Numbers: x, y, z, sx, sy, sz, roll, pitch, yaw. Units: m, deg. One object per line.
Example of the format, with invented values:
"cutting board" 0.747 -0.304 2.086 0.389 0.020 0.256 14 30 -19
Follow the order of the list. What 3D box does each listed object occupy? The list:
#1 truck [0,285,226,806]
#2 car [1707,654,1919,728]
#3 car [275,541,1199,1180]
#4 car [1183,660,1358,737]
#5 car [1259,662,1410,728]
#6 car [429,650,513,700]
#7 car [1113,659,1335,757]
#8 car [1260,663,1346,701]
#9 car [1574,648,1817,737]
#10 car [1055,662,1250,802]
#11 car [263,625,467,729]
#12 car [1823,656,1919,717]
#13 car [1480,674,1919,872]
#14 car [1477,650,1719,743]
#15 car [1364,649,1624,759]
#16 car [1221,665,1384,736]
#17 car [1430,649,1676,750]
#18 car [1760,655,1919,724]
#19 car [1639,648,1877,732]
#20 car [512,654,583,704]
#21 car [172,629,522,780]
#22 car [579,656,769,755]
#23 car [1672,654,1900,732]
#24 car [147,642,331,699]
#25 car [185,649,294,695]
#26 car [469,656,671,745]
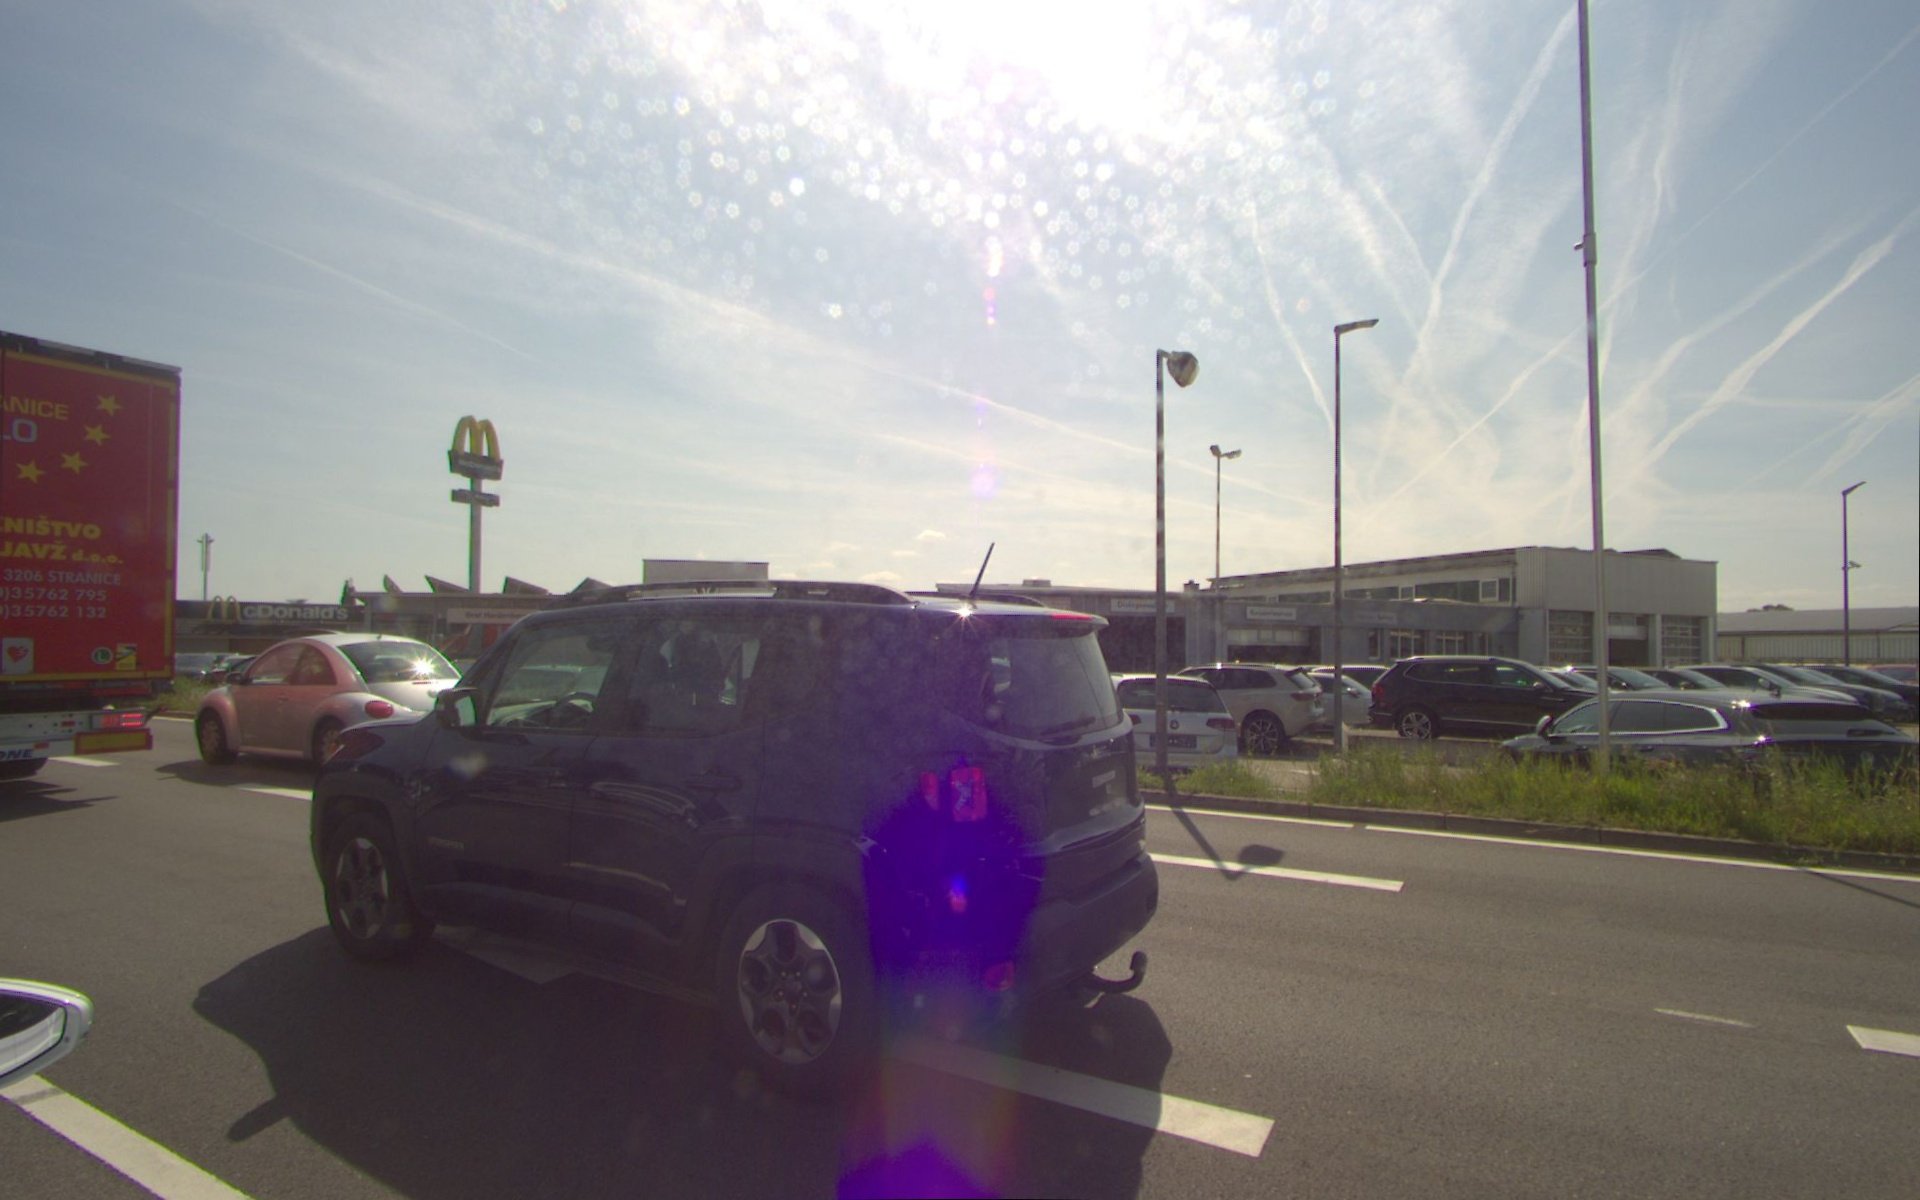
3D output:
"truck" -14.899 -0.346 12.640 16.340 4.323 2.954 -1 -2 31
"car" 23.068 2.390 27.099 1.883 1.777 4.208 2 -3 -32
"car" -1.130 0.741 4.508 3.943 1.707 1.816 -1 -1 32
"car" 7.257 2.238 23.458 3.666 1.601 1.599 -1 -3 31
"car" 10.243 2.552 27.463 3.666 1.601 1.599 -1 -3 31
"car" -16.485 2.498 33.961 1.771 1.550 4.223 1 -3 -15
"car" 5.527 2.176 21.083 4.172 1.777 1.899 -1 -3 33
"car" 12.623 3.000 37.055 1.575 1.269 3.722 1 -3 -6
"car" 16.963 2.060 23.275 1.961 1.812 4.202 2 -3 -37
"car" 2.299 1.569 12.964 1.705 1.420 4.040 1 -2 0
"car" -12.267 1.540 20.965 1.669 1.945 3.848 0 -2 6
"car" 29.486 2.662 30.719 1.882 1.777 4.209 2 -3 -32
"car" 7.267 1.537 10.150 1.705 1.420 4.350 1 -2 0
"car" 14.179 2.072 22.467 1.961 1.812 4.202 2 -3 -37
"car" 10.079 1.867 18.984 4.175 1.812 1.973 -1 -3 35
"car" 8.674 2.487 25.402 3.666 1.601 1.599 -1 -3 31
"car" 12.083 1.940 20.559 4.175 1.812 1.973 -1 -3 35
"car" 25.425 2.463 28.154 1.883 1.777 4.208 2 -3 -32
"car" 19.303 2.110 24.383 1.961 1.812 4.202 2 -3 -37
"car" -14.143 2.679 34.488 1.672 1.577 3.783 1 -2 -14
"car" -7.099 1.080 11.547 3.937 1.491 1.658 -1 -1 28
"car" -4.689 1.690 17.007 1.670 1.417 3.847 0 -2 8
"car" 21.261 2.319 25.961 1.883 1.777 4.208 2 -3 -32
"car" -20.953 2.022 29.207 3.922 1.550 2.001 1 -2 2
"car" -26.429 2.597 36.885 1.706 1.555 4.036 1 -2 -11
"car" -7.149 1.788 18.804 1.670 1.417 3.846 0 -2 12
